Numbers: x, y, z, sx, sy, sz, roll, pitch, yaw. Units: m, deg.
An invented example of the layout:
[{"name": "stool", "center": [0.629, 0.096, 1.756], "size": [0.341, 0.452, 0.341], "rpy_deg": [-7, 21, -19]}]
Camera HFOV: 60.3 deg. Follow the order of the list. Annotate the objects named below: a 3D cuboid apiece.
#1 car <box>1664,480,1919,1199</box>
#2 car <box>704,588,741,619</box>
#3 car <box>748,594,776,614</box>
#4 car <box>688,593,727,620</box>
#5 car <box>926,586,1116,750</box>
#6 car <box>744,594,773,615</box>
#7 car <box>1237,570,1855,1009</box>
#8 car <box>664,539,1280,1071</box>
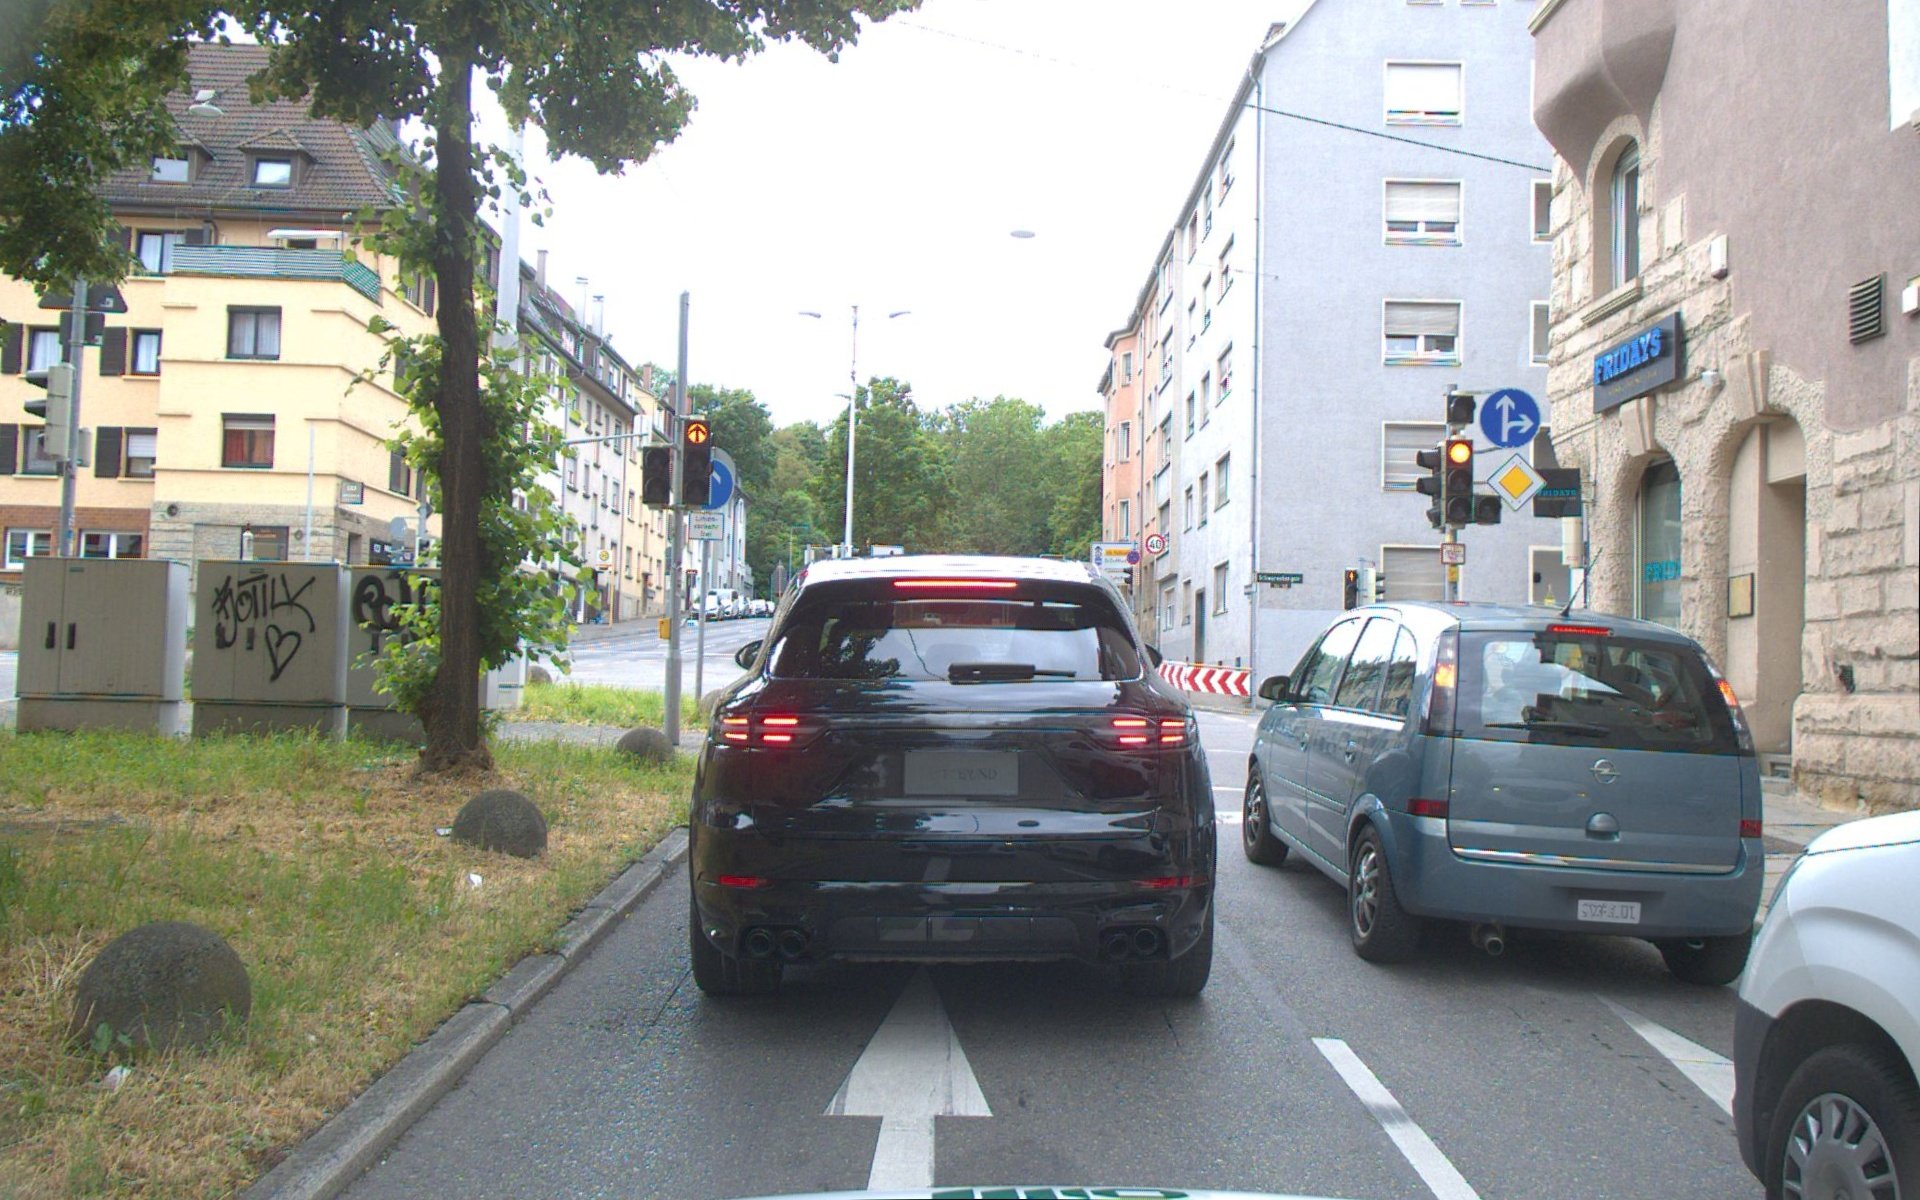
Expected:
[{"name": "car", "center": [2.804, 0.681, 2.252], "size": [1.811, 1.857, 5.022], "rpy_deg": [2, -1, 4]}, {"name": "car", "center": [-14.913, 0.211, 103.889], "size": [1.758, 1.841, 3.999], "rpy_deg": [1, 0, -1]}, {"name": "car", "center": [-15.541, 0.313, 130.161], "size": [1.758, 1.536, 3.999], "rpy_deg": [1, 0, -1]}, {"name": "car", "center": [-15.086, 0.392, 98.861], "size": [1.758, 1.536, 3.999], "rpy_deg": [1, 0, -1]}, {"name": "car", "center": [0.659, 0.722, 19.115], "size": [1.953, 1.682, 4.000], "rpy_deg": [0, -1, 1]}, {"name": "car", "center": [-15.263, 0.299, 125.267], "size": [1.758, 1.536, 3.999], "rpy_deg": [1, 0, -1]}, {"name": "car", "center": [2.644, 0.763, 8.405], "size": [1.717, 1.621, 3.629], "rpy_deg": [4, 0, -1]}, {"name": "car", "center": [0.068, 0.636, 7.276], "size": [1.953, 1.681, 4.001], "rpy_deg": [0, 0, 1]}]
